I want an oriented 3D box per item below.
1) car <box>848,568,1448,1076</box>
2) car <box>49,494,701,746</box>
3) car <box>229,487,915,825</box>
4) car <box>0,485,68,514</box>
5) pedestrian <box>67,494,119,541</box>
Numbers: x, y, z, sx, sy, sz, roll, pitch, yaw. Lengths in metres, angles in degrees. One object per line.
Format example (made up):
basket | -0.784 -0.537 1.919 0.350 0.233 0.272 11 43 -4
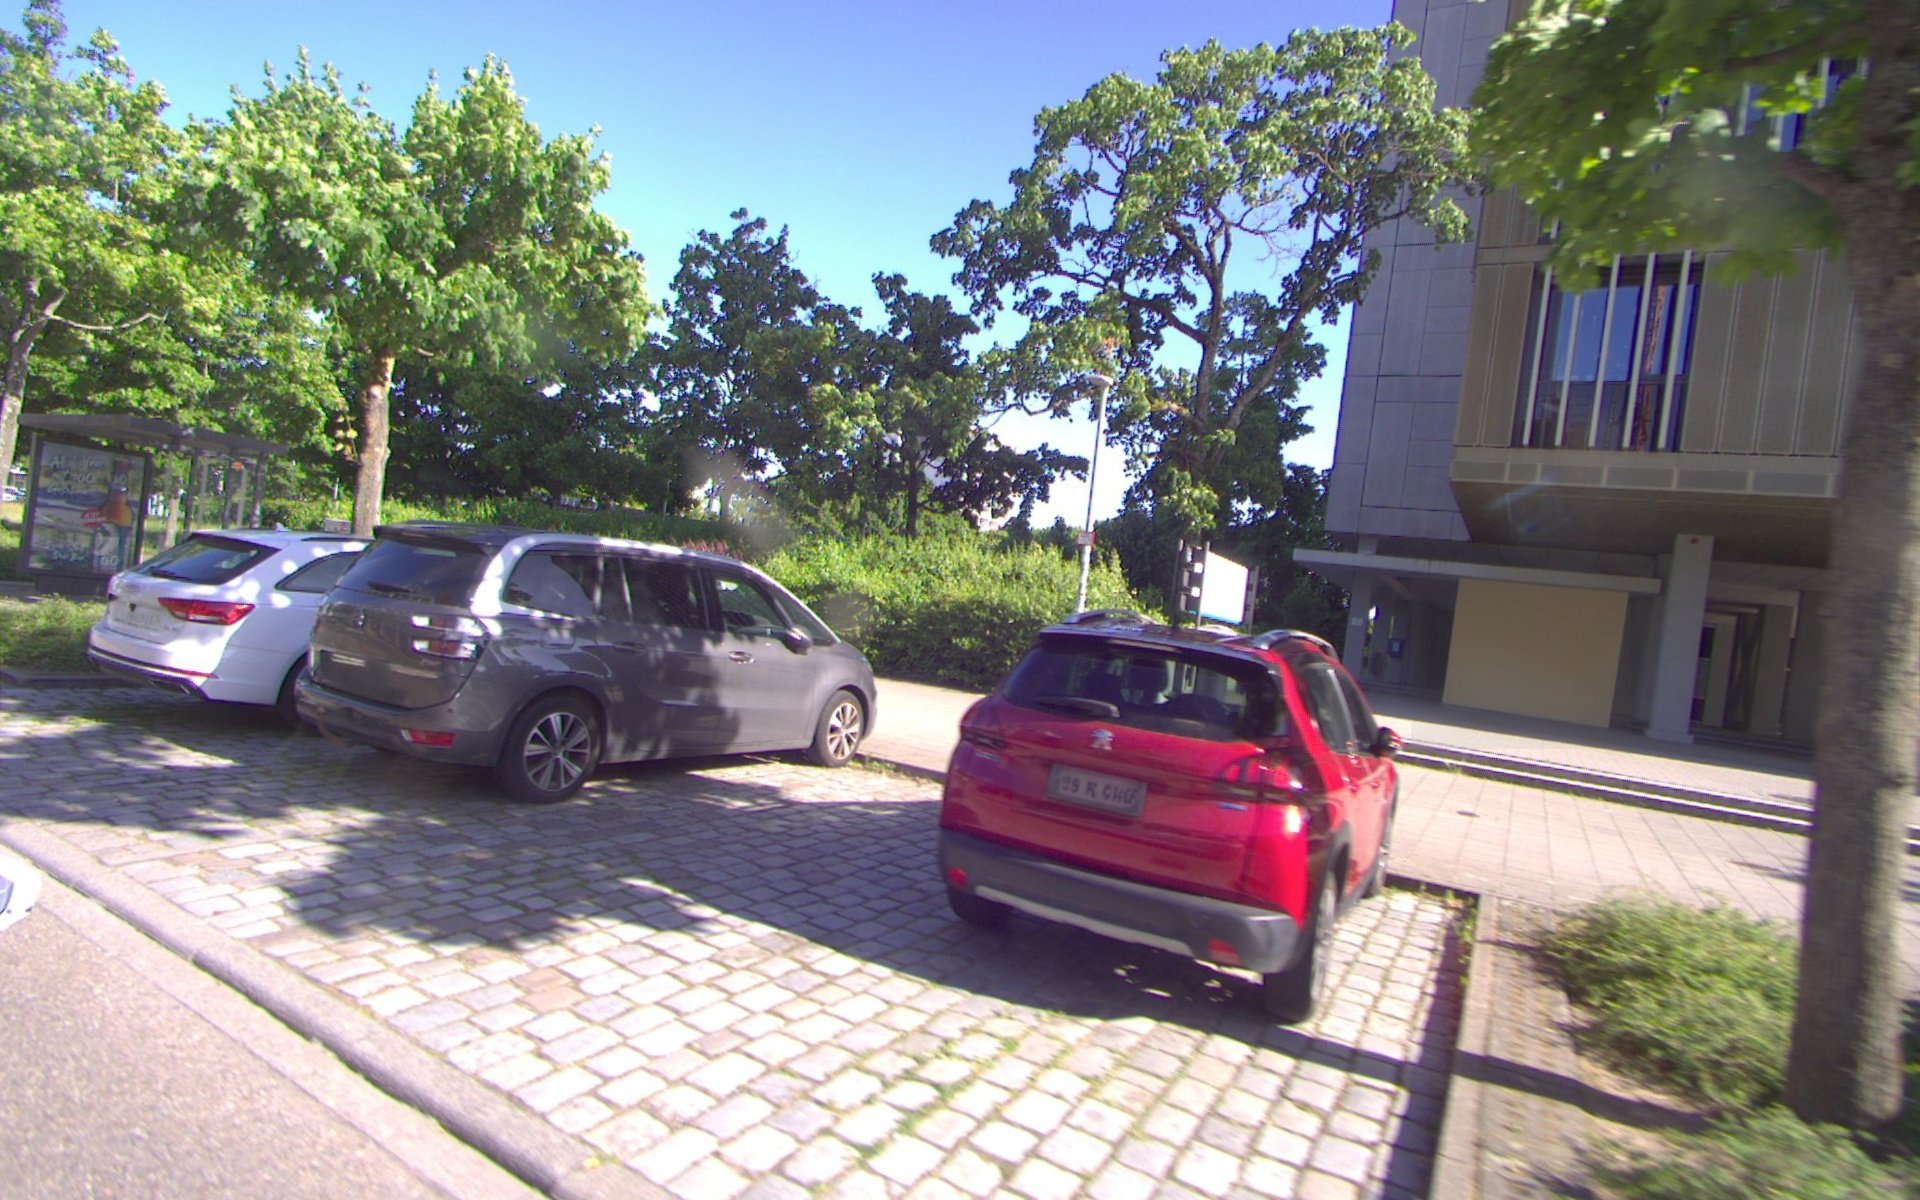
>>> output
car | 1.492 0.869 5.736 1.845 1.555 4.408 7 0 30
car | -4.562 0.215 8.632 1.863 1.481 4.408 7 0 30
car | -2.466 0.369 7.590 2.039 1.661 4.408 7 0 30
car | -77.045 -8.336 83.688 1.667 1.595 3.865 7 -3 35
pedestrian | -25.834 -2.456 29.979 0.715 1.233 0.847 7 1 18
